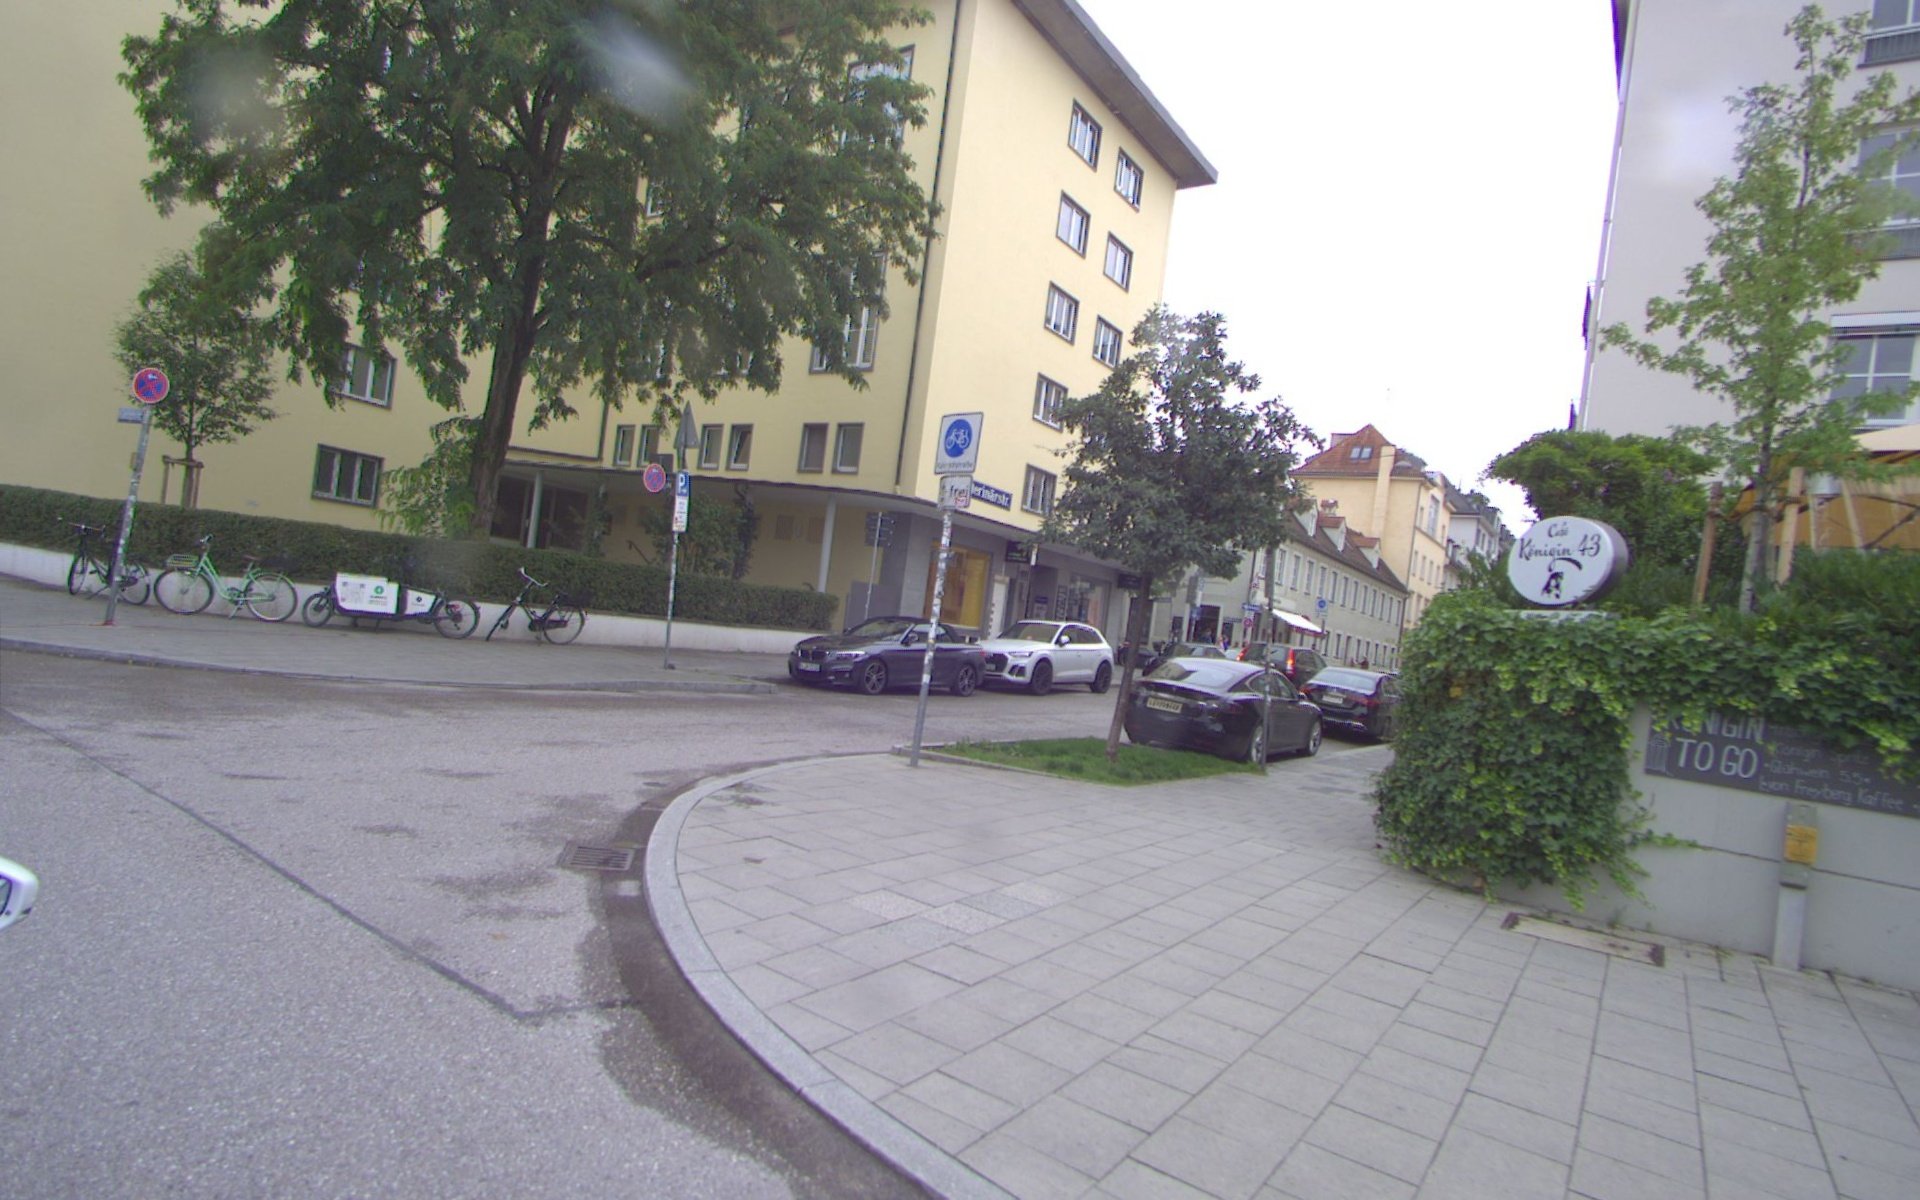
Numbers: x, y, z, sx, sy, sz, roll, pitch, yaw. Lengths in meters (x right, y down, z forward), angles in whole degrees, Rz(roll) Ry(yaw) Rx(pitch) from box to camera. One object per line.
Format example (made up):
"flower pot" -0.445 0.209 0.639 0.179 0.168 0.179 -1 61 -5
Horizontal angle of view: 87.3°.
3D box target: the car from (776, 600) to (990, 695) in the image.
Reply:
"car" -1.315 0.931 18.620 1.582 1.453 3.974 5 -1 38

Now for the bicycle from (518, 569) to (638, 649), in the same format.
"bicycle" -6.515 0.179 17.229 0.602 1.163 1.733 7 -1 41

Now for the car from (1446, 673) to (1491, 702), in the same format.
"car" 33.769 5.841 66.716 1.822 1.653 4.268 5 -1 37

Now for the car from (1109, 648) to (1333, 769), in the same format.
"car" 4.132 1.579 15.392 1.820 1.348 4.366 7 0 35

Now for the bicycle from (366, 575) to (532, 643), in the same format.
"bicycle" -7.915 0.153 15.625 2.195 0.788 0.605 8 -1 -33

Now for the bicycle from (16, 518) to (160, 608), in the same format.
"bicycle" -13.037 -0.561 15.029 2.176 1.086 0.610 7 1 21

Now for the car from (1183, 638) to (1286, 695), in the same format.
"car" 9.419 2.289 34.304 1.822 1.653 4.268 5 -1 37

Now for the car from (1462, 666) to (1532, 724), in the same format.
"car" 21.696 3.785 40.584 1.820 1.965 4.366 7 1 35

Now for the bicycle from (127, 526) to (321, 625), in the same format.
"bicycle" -10.609 -0.340 14.554 2.178 1.130 0.610 7 0 -4

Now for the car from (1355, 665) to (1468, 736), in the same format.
"car" 11.950 2.594 26.451 1.820 1.457 4.366 7 0 35

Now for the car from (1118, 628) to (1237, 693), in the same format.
"car" 6.710 1.880 30.723 1.822 1.653 4.268 5 -1 37

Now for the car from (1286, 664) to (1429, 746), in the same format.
"car" 8.642 2.190 21.644 1.820 1.348 4.366 7 0 35

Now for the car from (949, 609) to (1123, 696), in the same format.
"car" 1.838 1.251 22.914 1.822 1.653 4.268 5 -1 37

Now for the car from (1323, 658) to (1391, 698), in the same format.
"car" 18.948 3.737 47.896 1.822 1.653 4.268 5 -1 37

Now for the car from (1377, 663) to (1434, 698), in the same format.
"car" 24.347 4.422 54.907 1.822 1.653 4.268 5 -1 37

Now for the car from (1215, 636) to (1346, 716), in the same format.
"car" 8.567 2.003 26.644 1.970 1.715 4.366 7 1 35
